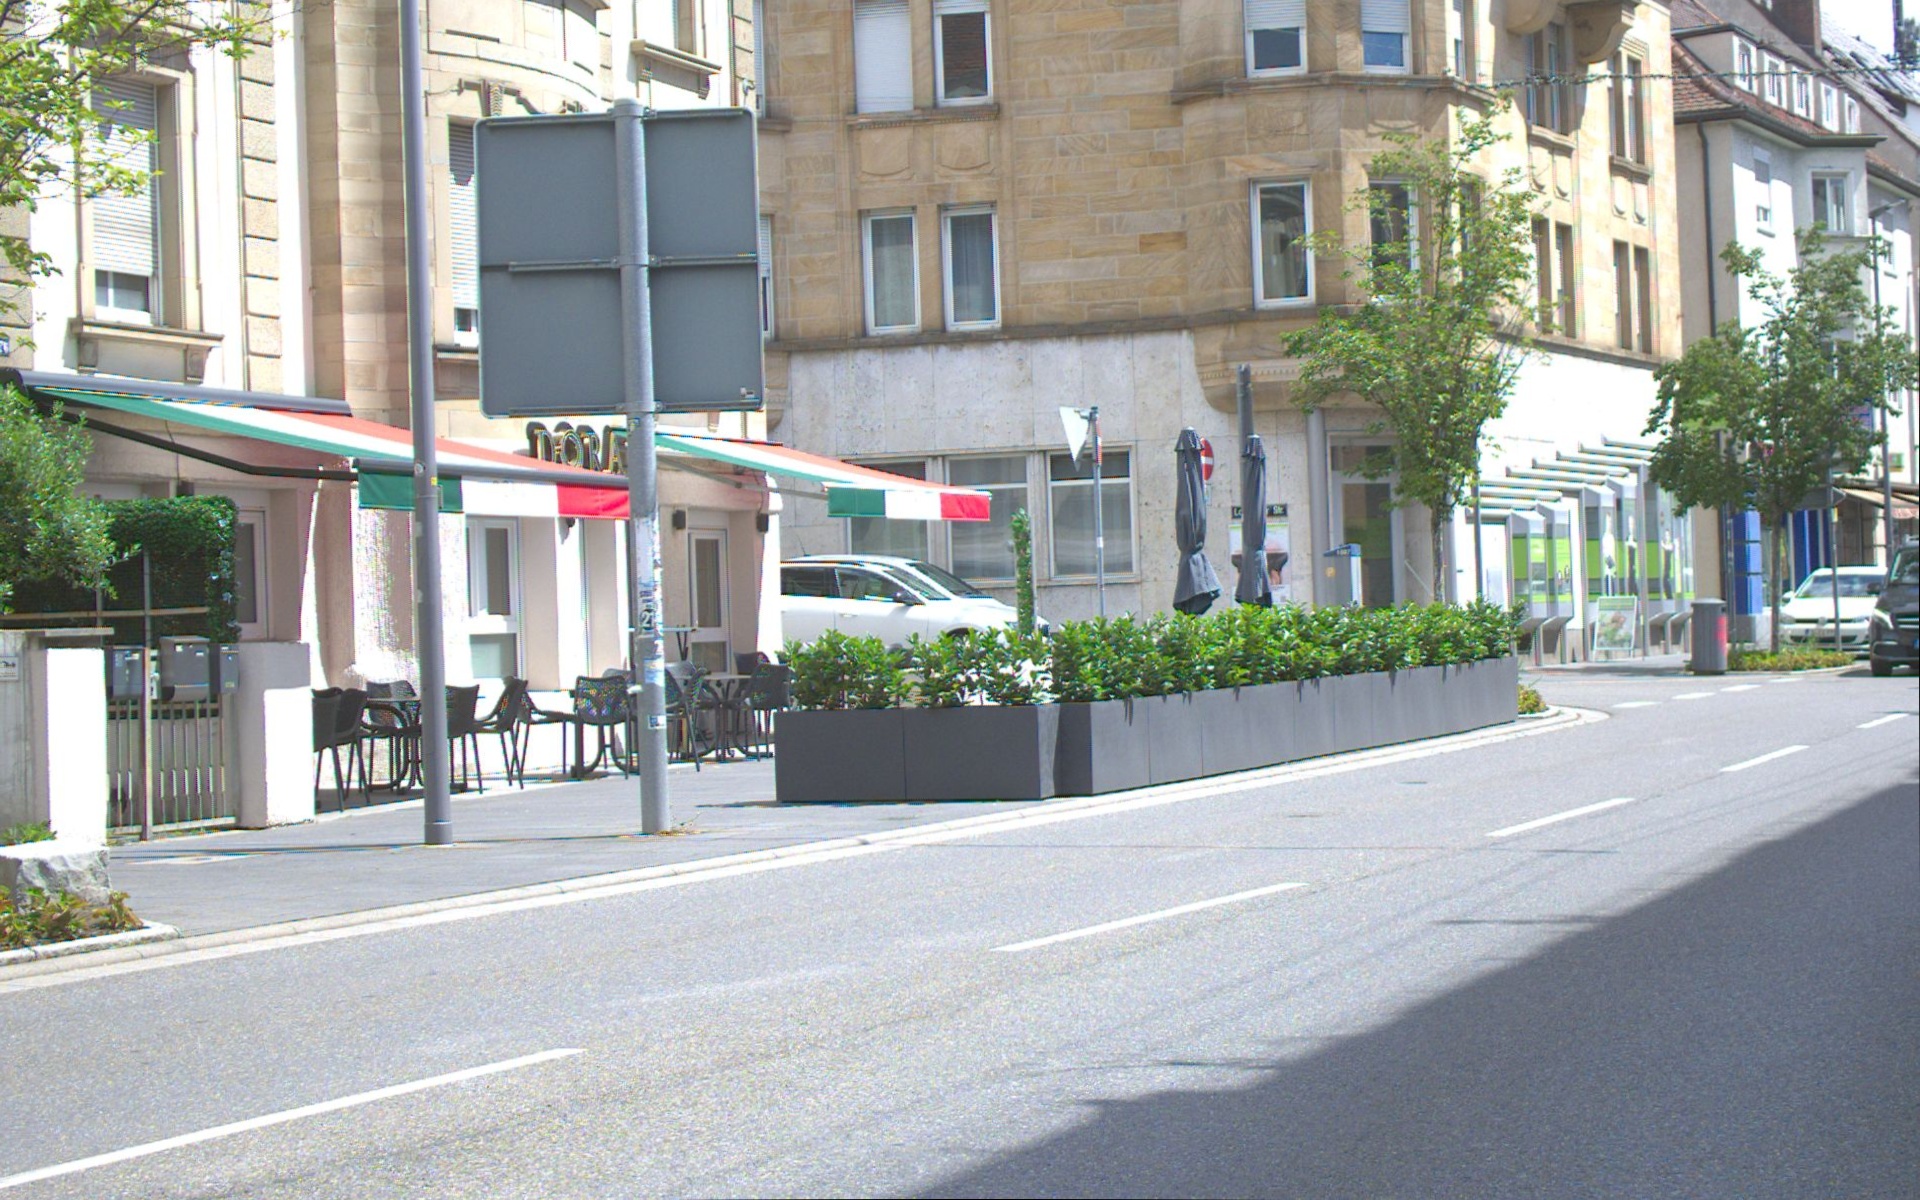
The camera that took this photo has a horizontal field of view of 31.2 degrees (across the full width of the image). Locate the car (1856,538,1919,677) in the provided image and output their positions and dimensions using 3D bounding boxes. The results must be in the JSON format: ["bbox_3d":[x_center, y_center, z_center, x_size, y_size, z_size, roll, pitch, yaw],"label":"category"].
[{"bbox_3d":[13.694,0.062,47.443,1.837,1.829,4.564,-2,0,24],"label":"car"}]

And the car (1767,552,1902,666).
[{"bbox_3d":[14.040,0.120,55.065,1.711,1.706,3.996,-1,1,19],"label":"car"}]

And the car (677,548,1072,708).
[{"bbox_3d":[-0.981,0.329,40.988,4.419,1.769,1.999,-1,0,8],"label":"car"}]

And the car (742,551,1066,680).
[{"bbox_3d":[-0.756,0.206,46.974,3.990,1.656,1.907,-1,0,18],"label":"car"}]
